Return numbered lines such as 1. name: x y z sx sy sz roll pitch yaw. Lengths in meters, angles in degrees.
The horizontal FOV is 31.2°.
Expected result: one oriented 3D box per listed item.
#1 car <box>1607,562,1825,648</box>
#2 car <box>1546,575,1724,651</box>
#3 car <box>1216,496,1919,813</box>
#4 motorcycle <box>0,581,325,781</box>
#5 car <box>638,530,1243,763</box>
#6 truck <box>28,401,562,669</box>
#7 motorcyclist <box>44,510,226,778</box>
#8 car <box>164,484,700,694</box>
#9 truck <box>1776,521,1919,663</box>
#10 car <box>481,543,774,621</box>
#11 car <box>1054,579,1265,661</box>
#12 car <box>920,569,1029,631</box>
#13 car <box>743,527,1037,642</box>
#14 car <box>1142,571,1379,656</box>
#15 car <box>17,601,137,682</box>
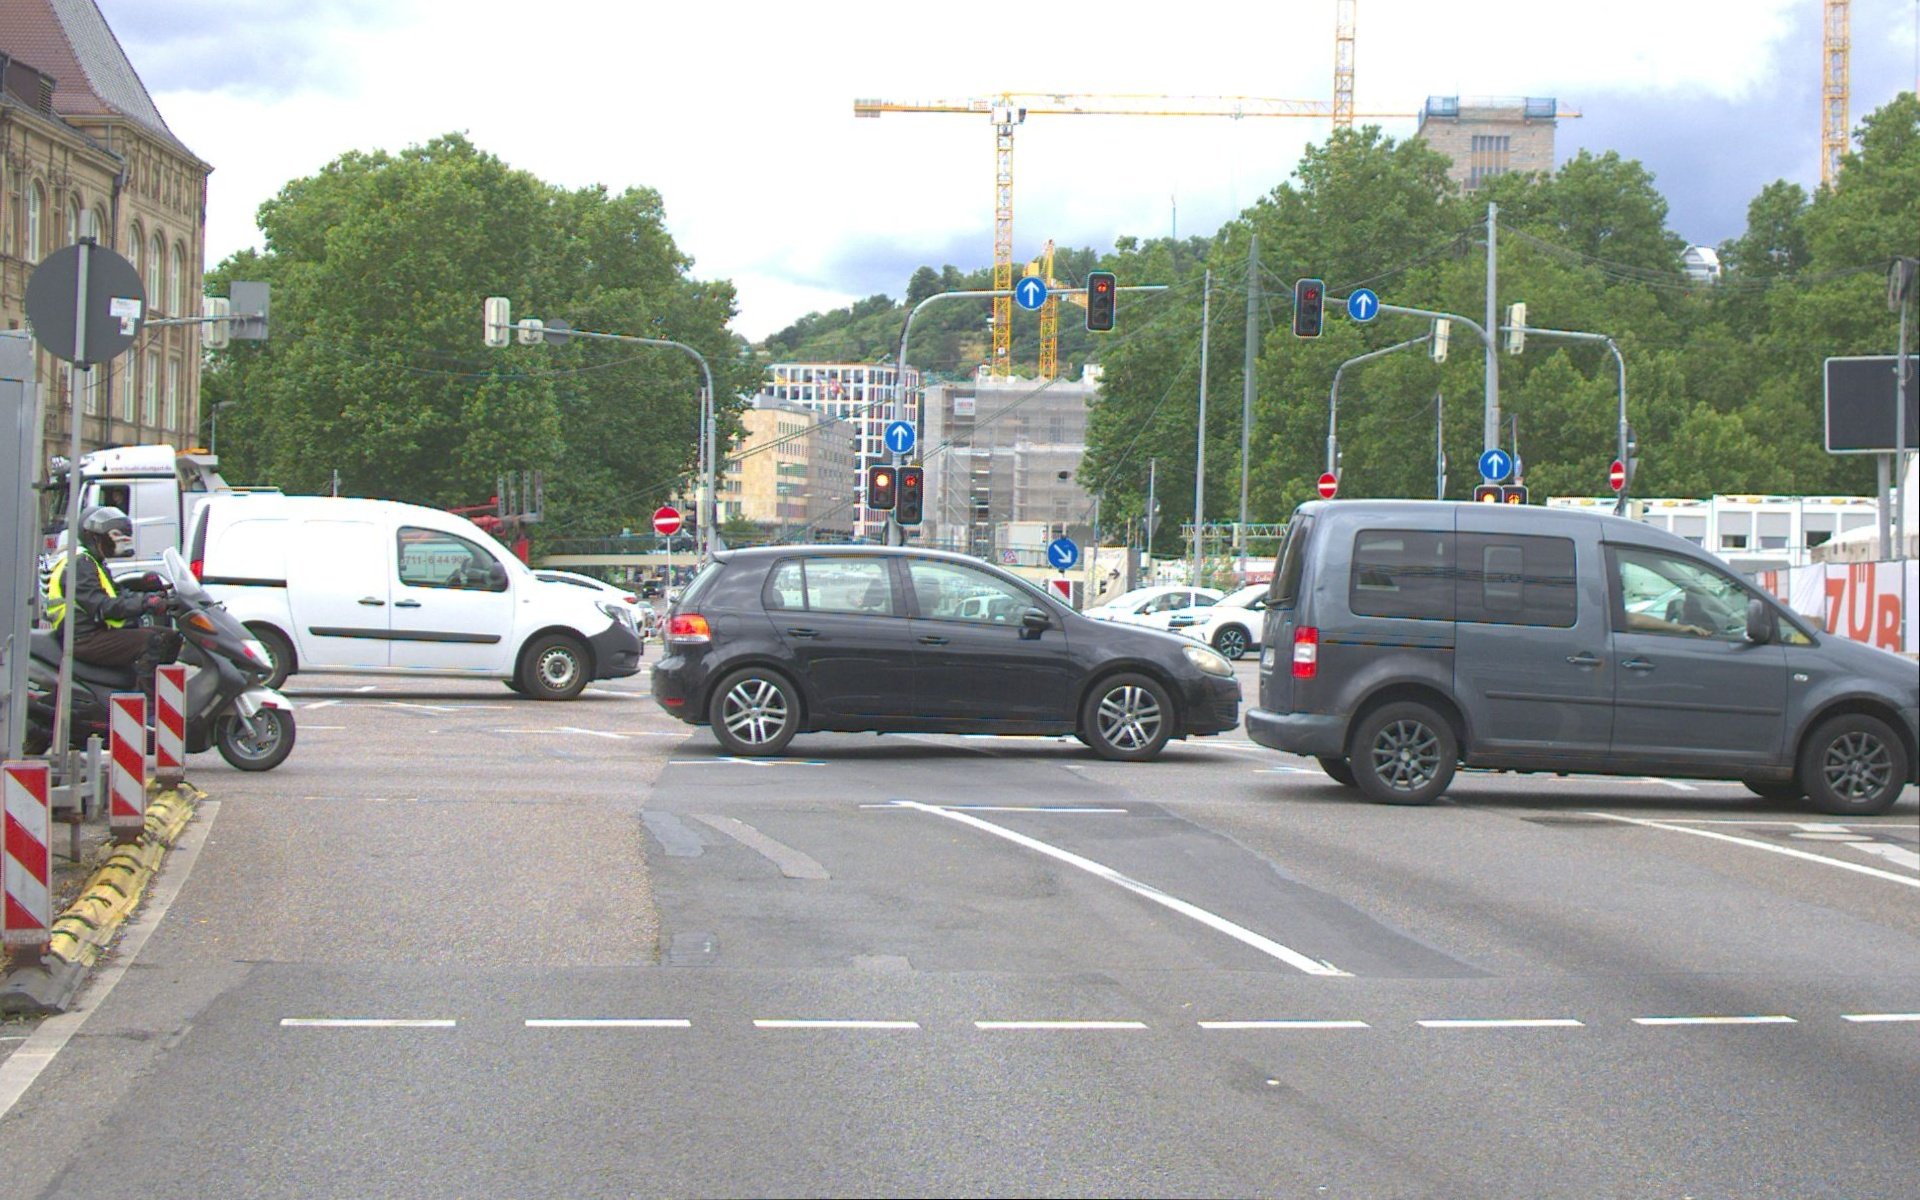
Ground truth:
1. car: 17.559 0.112 79.872 4.564 1.768 2.001 2 3 -25
2. car: 17.167 0.318 87.537 3.997 1.831 1.995 1 1 44
3. car: 3.811 0.311 21.103 4.269 1.799 2.000 1 0 -1
4. motorcycle: -5.107 0.472 20.644 2.422 1.151 0.817 1 0 0
5. car: -0.191 0.311 24.409 4.106 1.542 2.000 1 0 -4
6. truck: -12.901 -1.186 66.834 9.712 4.943 3.114 1 0 -23
7. motorcyclist: -4.942 0.257 20.635 0.878 1.565 0.817 1 0 0
8. car: -4.894 -0.095 31.714 4.705 1.827 1.870 1 0 -15
9. truck: 21.997 -0.164 78.100 6.580 3.135 2.368 1 0 -23
10. car: -6.385 -0.346 66.014 5.132 1.415 2.238 1 1 -23
11. car: 4.335 0.426 74.772 4.146 1.718 1.909 1 1 -23
12. car: 0.424 -0.009 105.484 1.993 1.831 4.001 1 1 -21
13. car: -1.105 -0.251 53.879 4.164 1.695 1.967 1 1 -19
14. car: 6.299 0.278 72.047 4.583 1.718 1.909 1 1 -23
15. car: -21.055 0.964 82.096 1.993 1.831 4.001 1 1 -3
